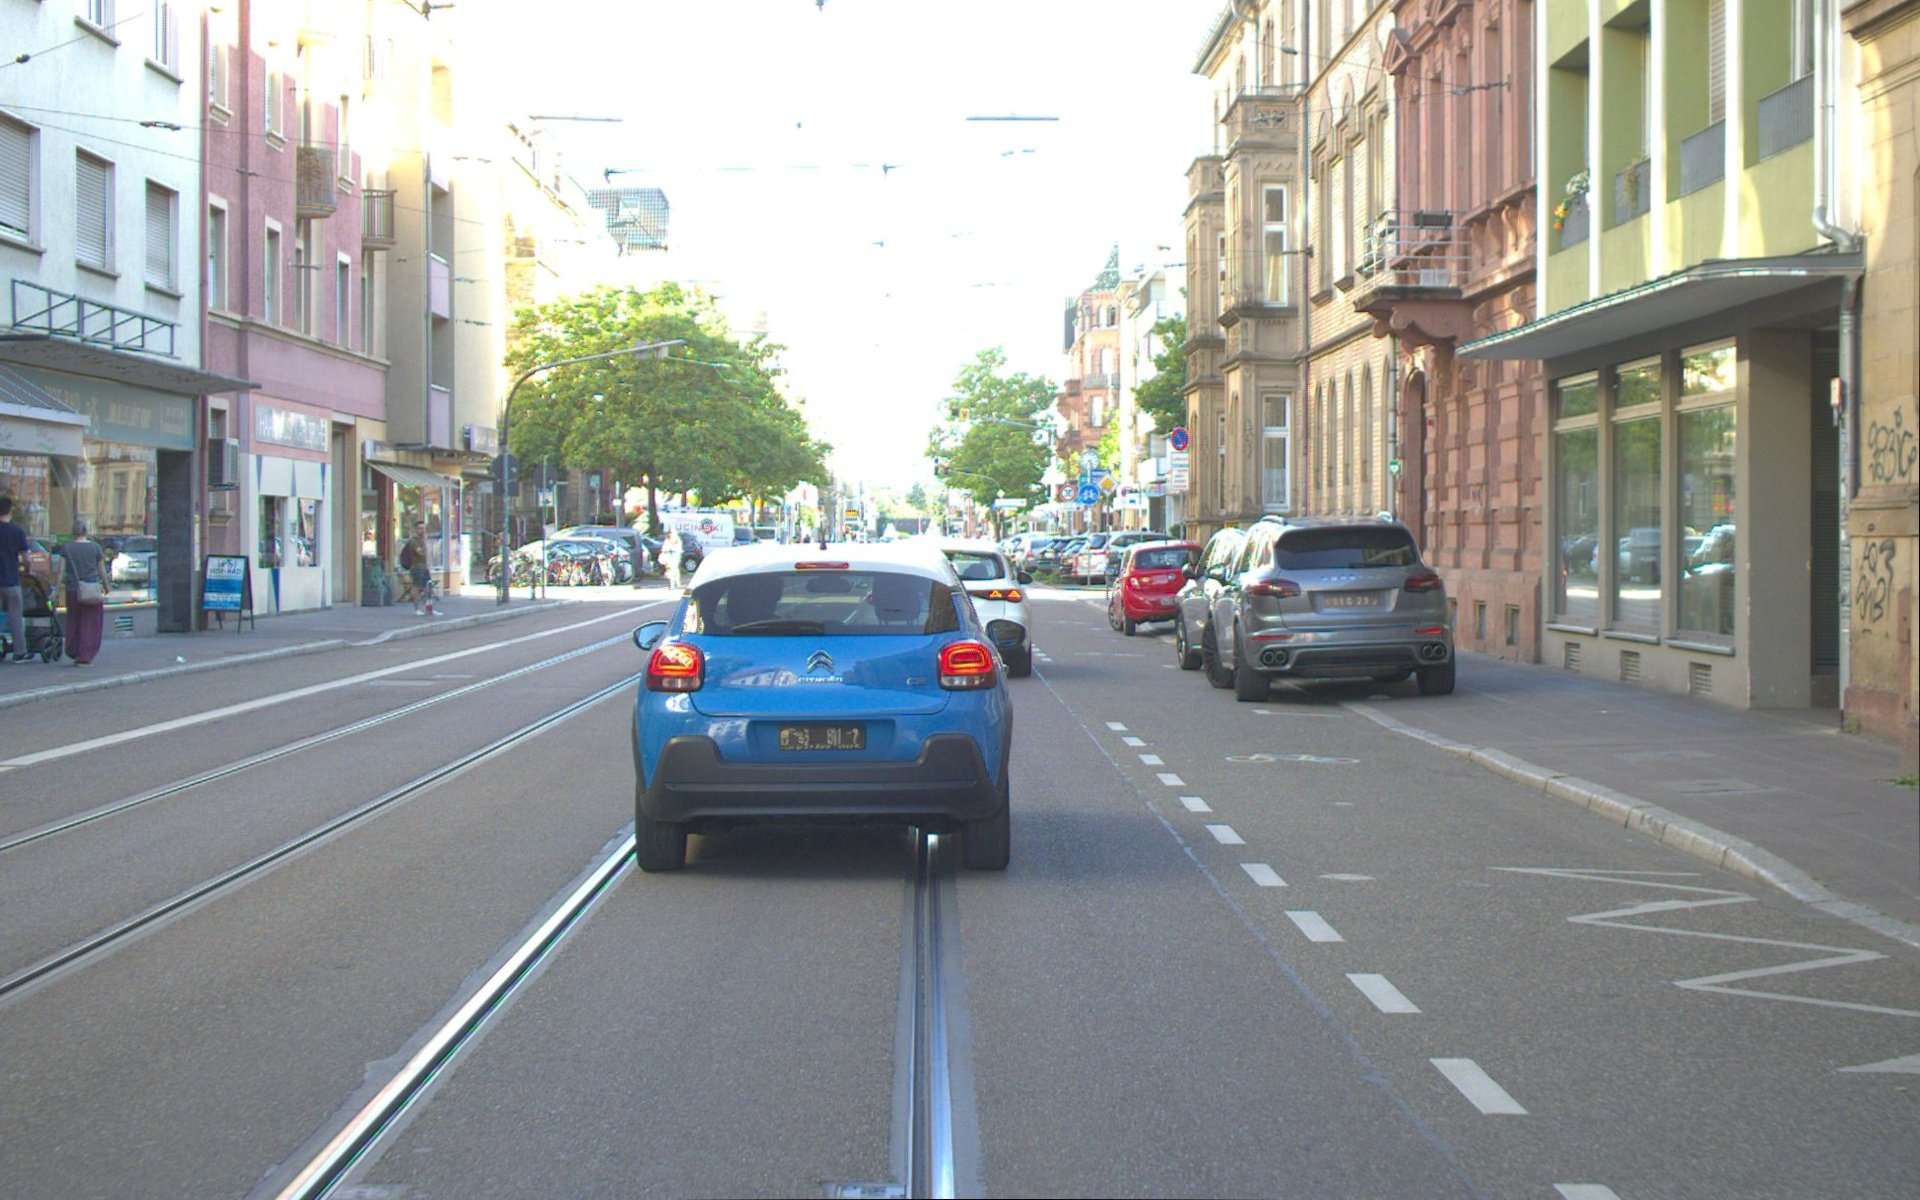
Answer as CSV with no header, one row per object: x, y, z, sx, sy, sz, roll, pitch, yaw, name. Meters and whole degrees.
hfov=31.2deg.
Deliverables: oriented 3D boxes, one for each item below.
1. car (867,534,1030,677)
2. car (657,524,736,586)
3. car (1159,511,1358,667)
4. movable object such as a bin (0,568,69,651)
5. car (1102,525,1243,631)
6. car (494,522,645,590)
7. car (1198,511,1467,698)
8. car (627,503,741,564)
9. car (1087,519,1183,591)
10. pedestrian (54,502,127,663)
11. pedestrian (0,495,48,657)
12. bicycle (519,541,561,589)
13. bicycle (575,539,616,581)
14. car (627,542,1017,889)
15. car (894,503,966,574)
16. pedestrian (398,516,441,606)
-0.171,0.016,37.683,1.667,1.473,4.001,0,1,-2,car
-7.214,-1.252,94.410,1.993,1.645,4.000,0,1,-2,car
3.499,-0.166,40.922,1.905,1.751,4.000,0,1,-2,car
-10.378,0.101,38.517,0.610,0.911,0.695,0,1,-1,movable object such as a bin
3.481,-0.397,57.086,2.005,1.666,4.391,1,1,-1,car
-11.891,-1.350,104.877,4.308,2.010,2.209,0,1,1,car
3.490,-0.011,33.098,2.005,1.667,4.806,0,1,-1,car
-11.728,-2.842,146.088,4.307,2.572,2.210,-1,1,-26,car
4.118,-1.086,81.634,2.005,1.667,4.391,0,1,-1,car
-9.608,-0.203,37.991,0.710,1.758,0.655,0,1,-9,pedestrian
-10.456,-0.266,37.775,0.710,1.758,0.570,0,1,-2,pedestrian
-11.876,-0.997,97.242,1.120,1.315,3.645,0,1,-6,bicycle
-10.343,-1.144,97.484,1.120,1.142,3.645,0,1,-6,bicycle
-0.603,0.466,16.816,1.674,1.472,4.000,0,1,0,car
-0.880,-1.777,98.833,1.993,2.007,4.001,0,1,-2,car
-9.890,-0.722,62.915,0.685,1.633,0.675,0,1,-2,pedestrian
